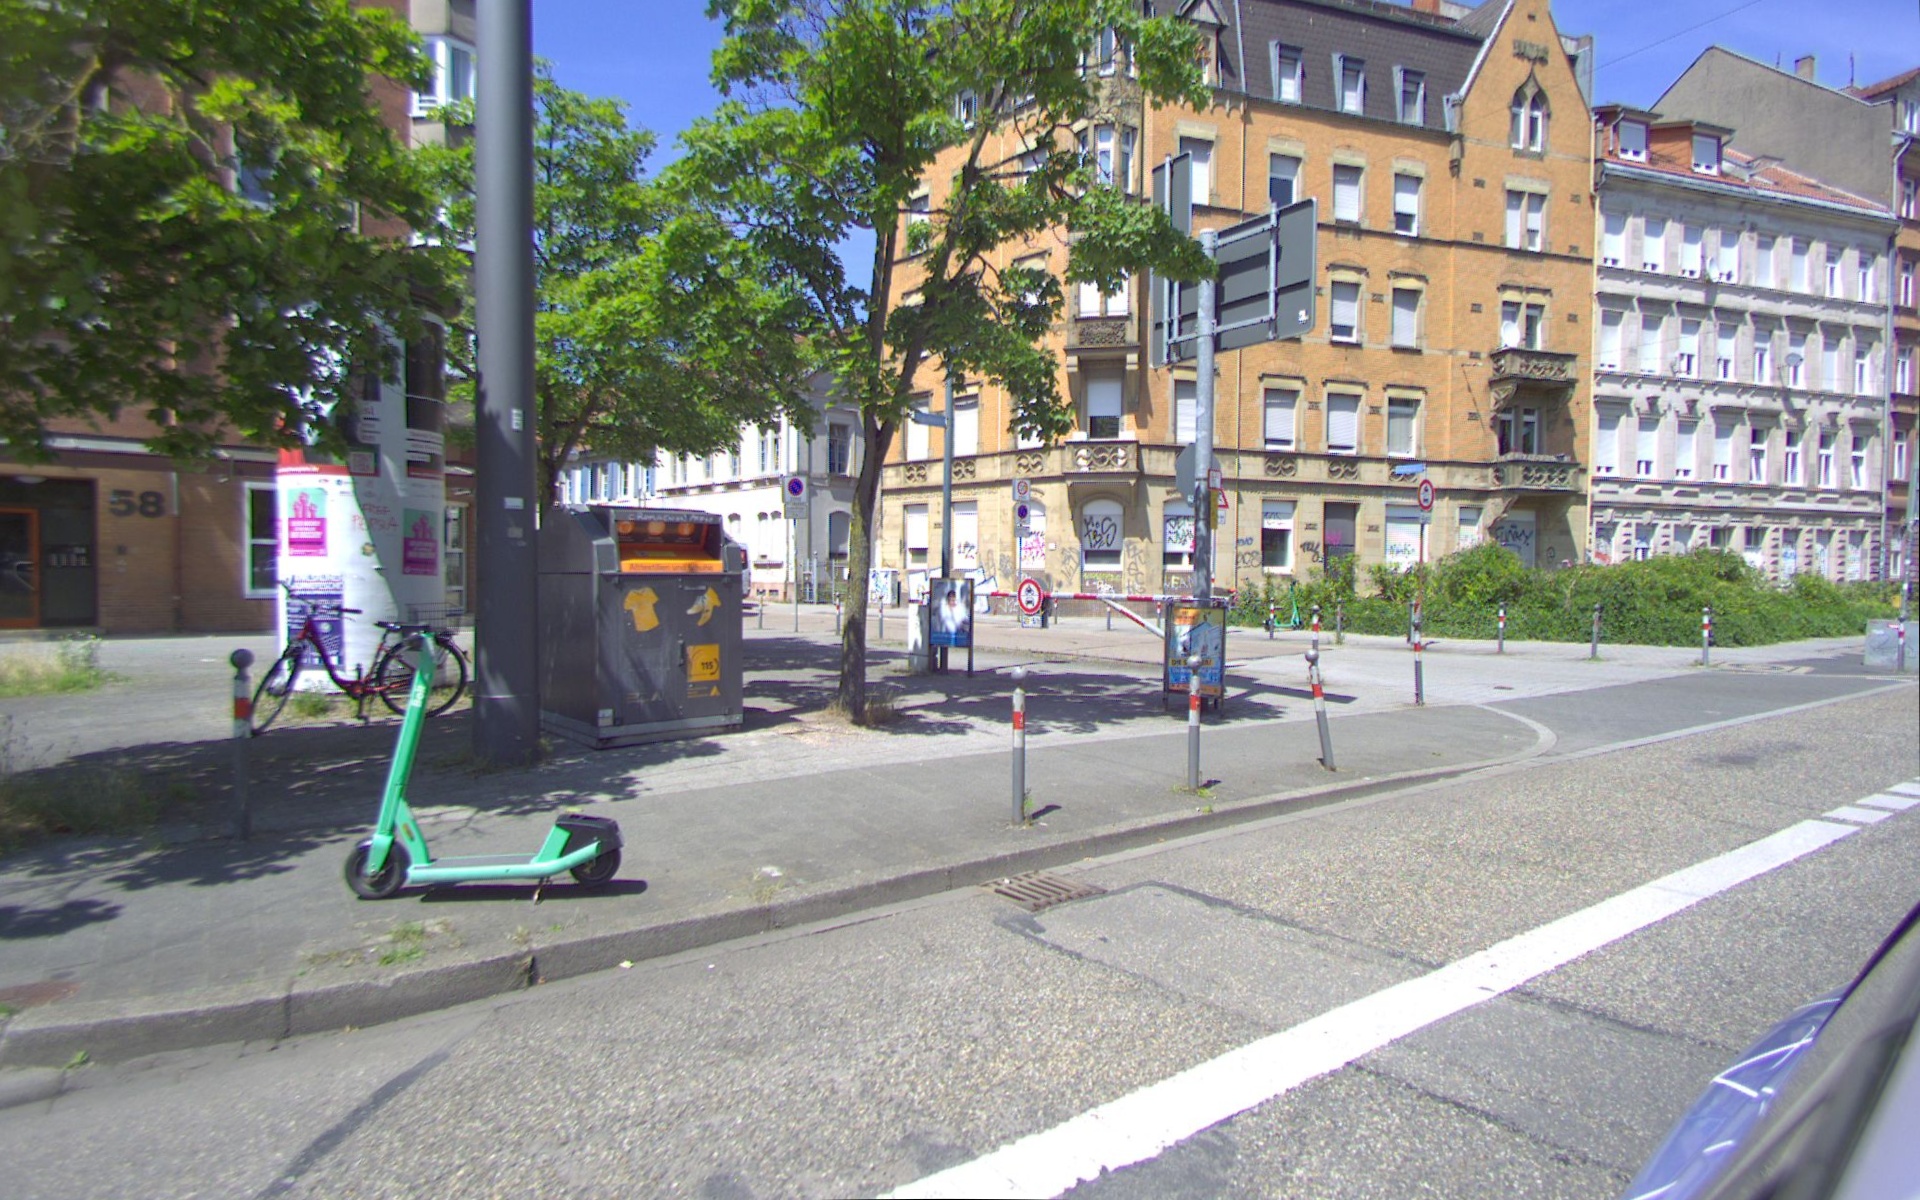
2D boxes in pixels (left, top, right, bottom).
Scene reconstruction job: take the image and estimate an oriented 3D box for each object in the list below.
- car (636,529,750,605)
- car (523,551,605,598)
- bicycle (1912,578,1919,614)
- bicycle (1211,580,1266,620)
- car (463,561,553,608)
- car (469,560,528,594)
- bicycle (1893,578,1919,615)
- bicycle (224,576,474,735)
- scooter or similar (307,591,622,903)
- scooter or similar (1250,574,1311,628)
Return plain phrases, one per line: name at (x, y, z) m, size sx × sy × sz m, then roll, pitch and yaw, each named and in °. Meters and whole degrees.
car at (-10.174, -1.189, 38.305) m, size 1.966 × 2.655 × 5.208 m, roll -2°, pitch 1°, yaw -42°
car at (-18.579, -1.165, 47.384) m, size 1.966 × 2.061 × 4.818 m, roll -2°, pitch 1°, yaw -42°
bicycle at (32.162, -0.136, 32.737) m, size 0.483 × 1.195 × 1.922 m, roll -1°, pitch 1°, yaw -32°
bicycle at (7.265, -0.009, 26.389) m, size 1.458 × 1.005 × 0.491 m, roll -2°, pitch 1°, yaw -29°
car at (-15.860, -0.525, 35.408) m, size 3.821 × 1.538 × 1.585 m, roll 0°, pitch 1°, yaw 45°
car at (-24.753, -1.222, 54.225) m, size 1.804 × 1.705 × 3.993 m, roll -2°, pitch 1°, yaw -41°
bicycle at (31.200, -0.115, 32.367) m, size 0.483 × 1.195 × 1.922 m, roll -1°, pitch 1°, yaw -32°
bicycle at (-4.950, 0.400, 8.280) m, size 1.679 × 1.167 × 0.487 m, roll -2°, pitch 1°, yaw -41°
scooter or similar at (-2.092, 0.606, 4.366) m, size 1.155 × 1.228 × 0.393 m, roll 1°, pitch 4°, yaw -14°
scooter or similar at (7.531, 0.011, 23.766) m, size 1.458 × 1.220 × 0.491 m, roll -2°, pitch 1°, yaw -29°
